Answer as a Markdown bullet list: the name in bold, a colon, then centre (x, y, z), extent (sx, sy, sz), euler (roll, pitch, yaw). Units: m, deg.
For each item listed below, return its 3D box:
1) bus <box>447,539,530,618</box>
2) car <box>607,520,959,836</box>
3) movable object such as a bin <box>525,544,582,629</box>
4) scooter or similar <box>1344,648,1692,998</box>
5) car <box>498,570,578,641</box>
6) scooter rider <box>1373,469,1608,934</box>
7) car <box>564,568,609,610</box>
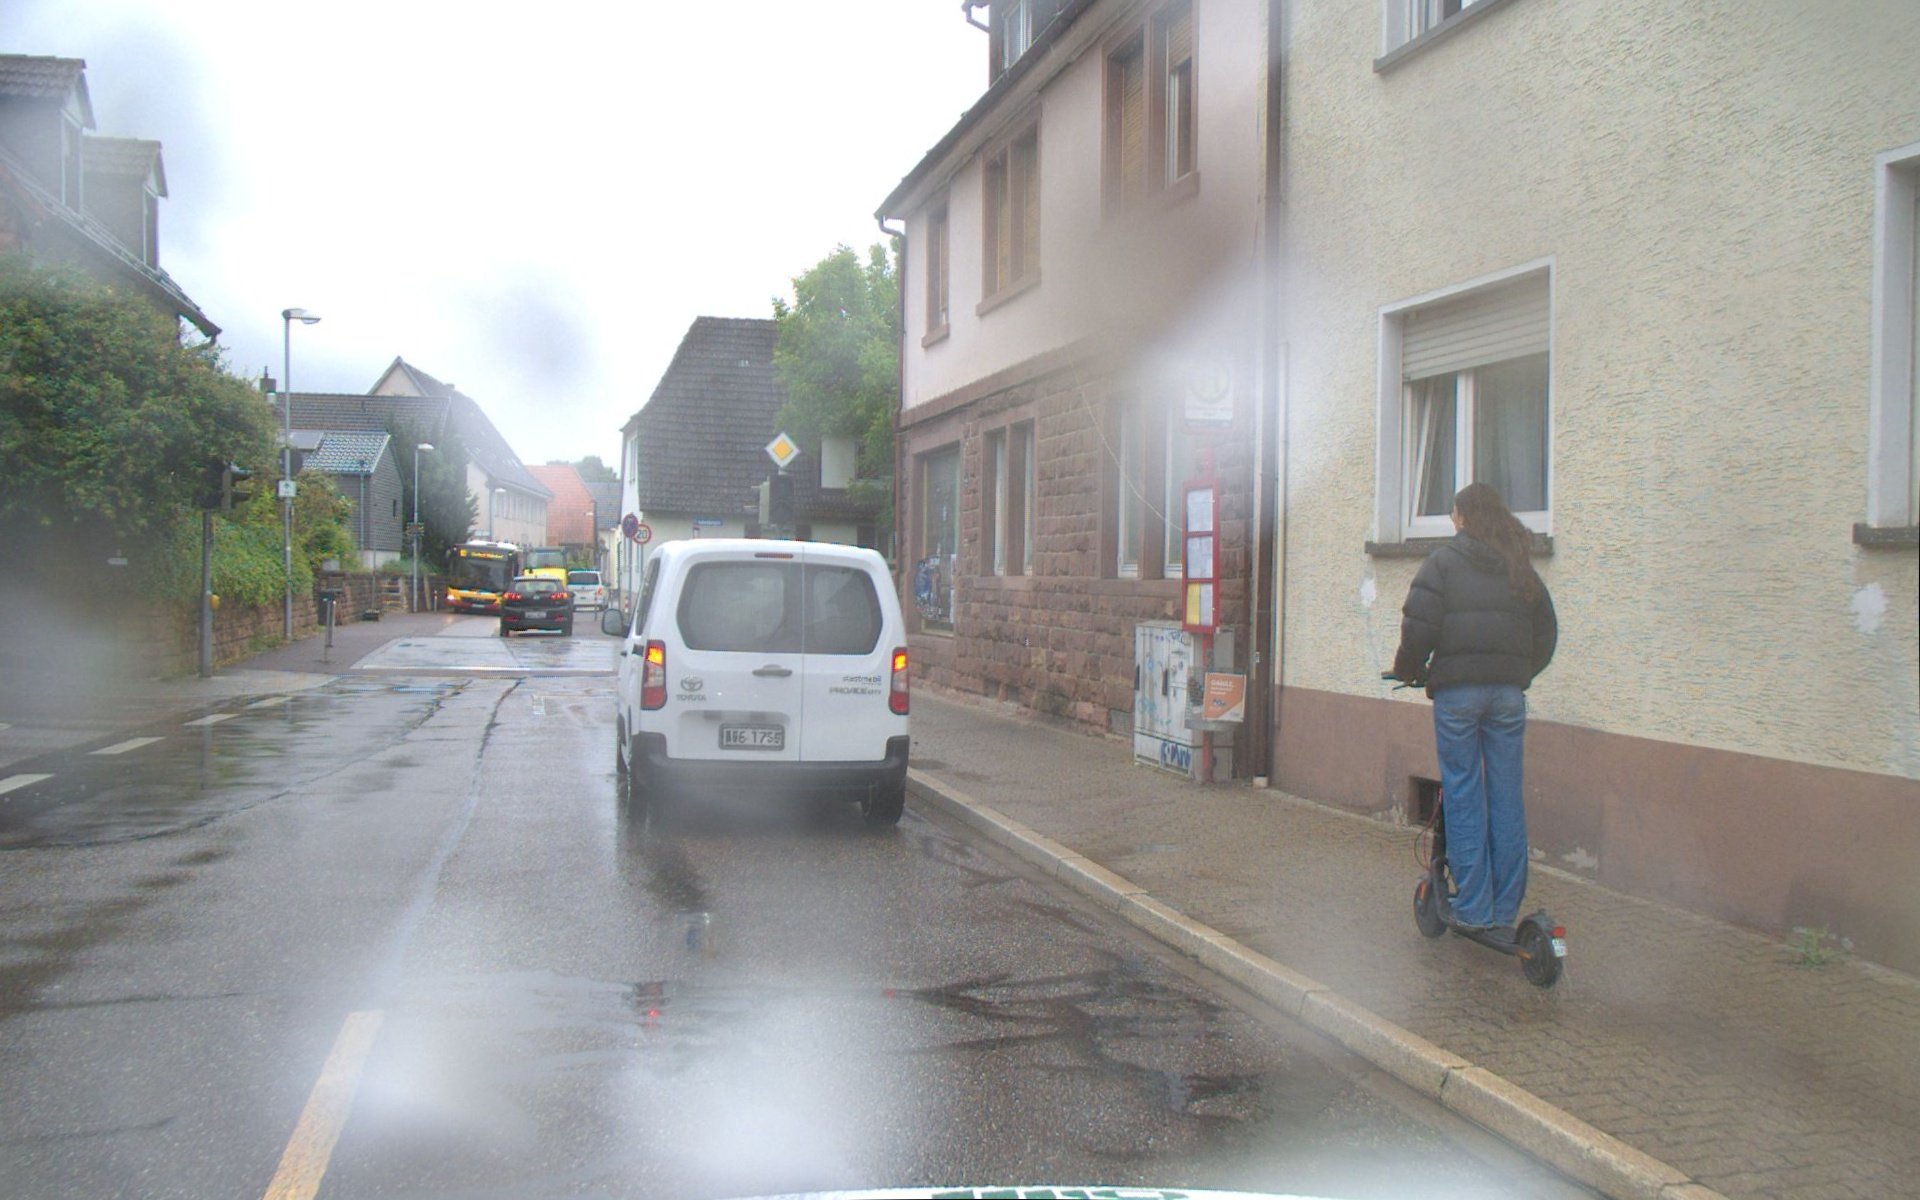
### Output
- **bus**: centre (-20.414, -1.072, 72.154), extent (2.603, 3.051, 12.157), euler (2, 2, -12)
- **car**: centre (-1.411, 0.458, 11.621), extent (1.863, 1.825, 3.799), euler (2, 0, -15)
- **movable object such as a bin**: centre (-13.580, -0.452, 55.348), extent (1.697, 2.699, 3.961), euler (2, 0, -13)
- **scooter or similar**: centre (2.132, 0.800, 6.510), extent (0.610, 1.146, 1.396), euler (1, 1, -15)
- **car**: centre (-10.457, 0.100, 41.029), extent (1.779, 1.624, 3.741), euler (2, 0, -14)
- **scooter rider**: centre (2.112, 0.390, 6.616), extent (0.719, 1.763, 0.516), euler (1, -1, -15)
- **car**: centre (-18.389, -0.546, 81.575), extent (1.861, 1.982, 3.992), euler (-1, 0, -9)
